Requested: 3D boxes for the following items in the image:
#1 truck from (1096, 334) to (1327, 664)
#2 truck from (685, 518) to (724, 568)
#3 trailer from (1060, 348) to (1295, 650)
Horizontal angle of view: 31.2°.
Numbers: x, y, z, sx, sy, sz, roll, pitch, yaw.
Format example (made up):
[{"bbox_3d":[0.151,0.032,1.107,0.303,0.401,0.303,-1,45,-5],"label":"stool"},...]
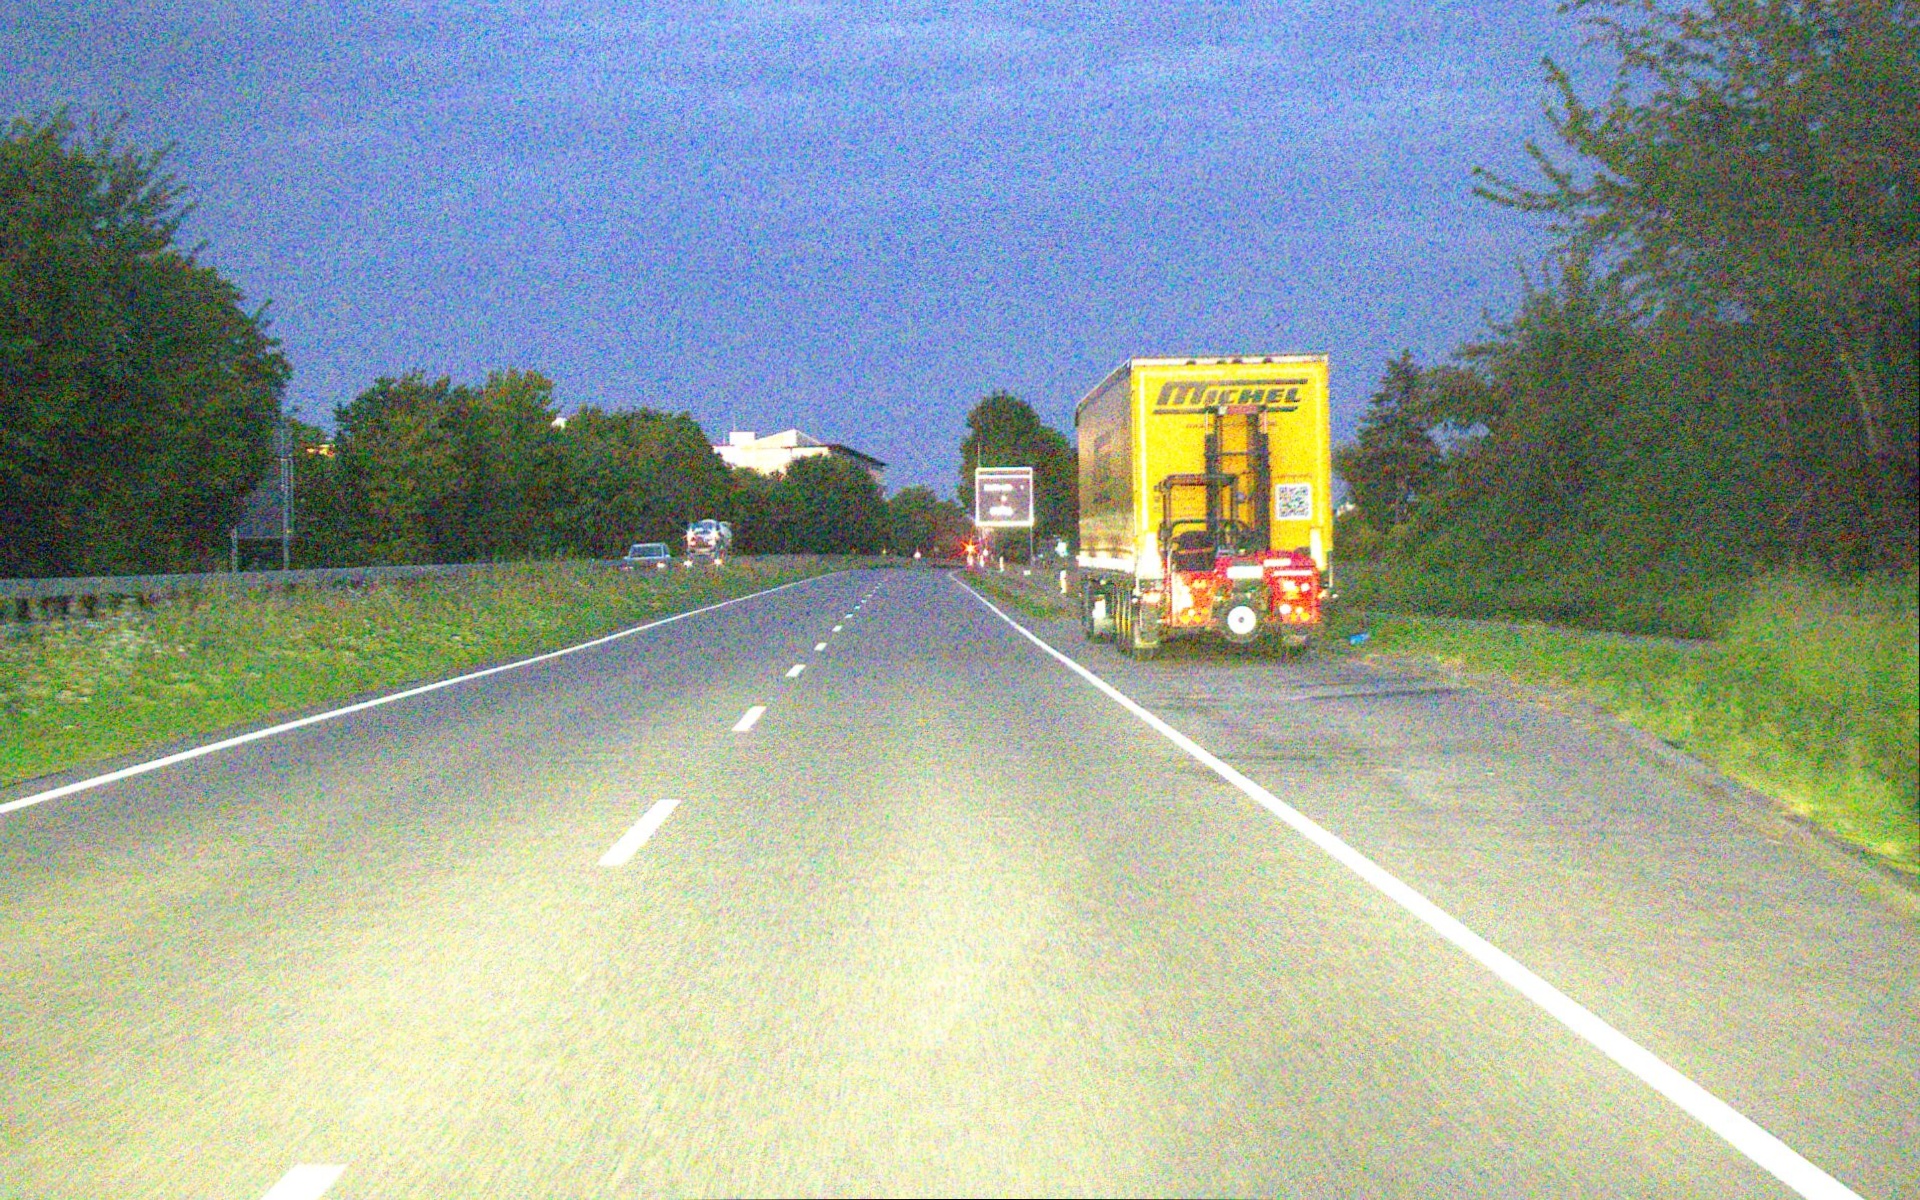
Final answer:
[{"bbox_3d":[3.245,-1.333,45.835,2.579,4.057,6.130,1,1,0],"label":"truck"},{"bbox_3d":[-18.266,-4.040,245.894,2.219,3.433,6.715,1,0,0],"label":"truck"},{"bbox_3d":[3.146,-1.475,53.185,2.622,4.090,12.938,0,1,-1],"label":"trailer"}]
